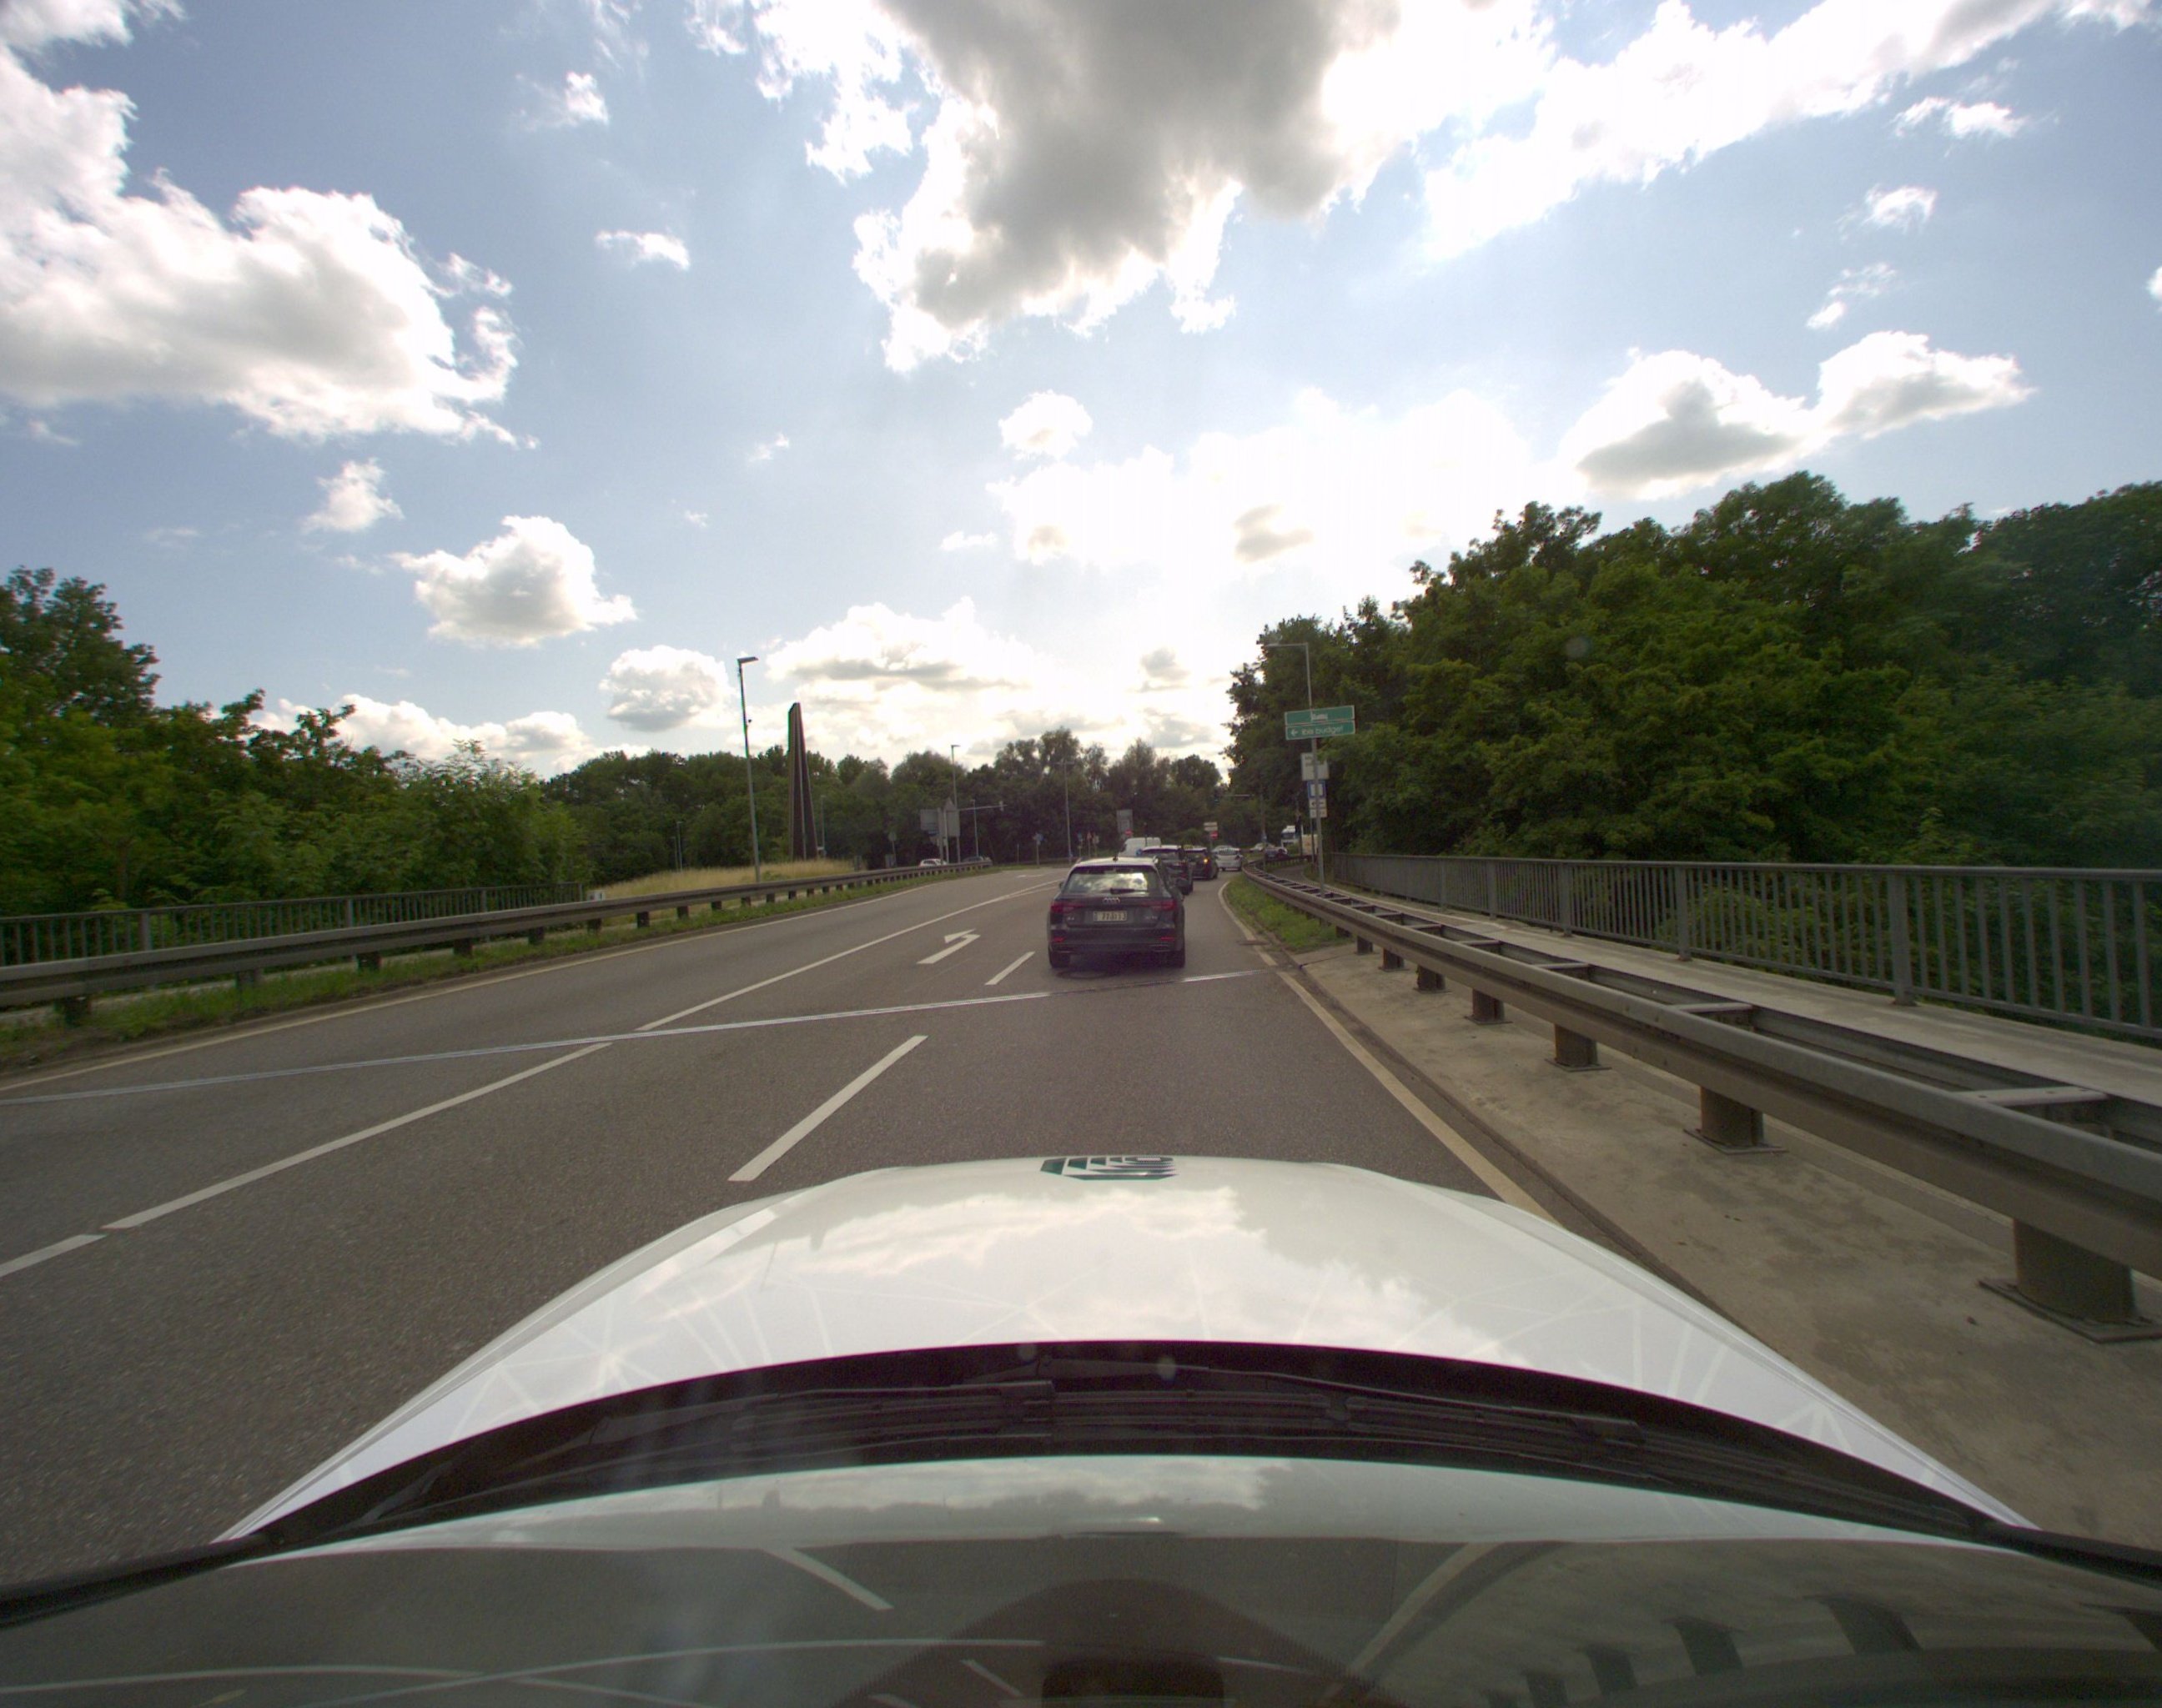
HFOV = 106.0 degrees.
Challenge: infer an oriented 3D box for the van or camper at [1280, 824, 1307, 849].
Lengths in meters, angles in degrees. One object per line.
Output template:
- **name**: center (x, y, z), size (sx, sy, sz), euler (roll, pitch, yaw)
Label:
- **van or camper**: center (31.647, -2.601, 121.150), size (2.879, 3.615, 8.175), euler (0, 2, 22)

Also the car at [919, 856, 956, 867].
- **car**: center (-13.999, 0.729, 79.596), size (3.543, 1.117, 1.604), euler (-1, 0, 39)

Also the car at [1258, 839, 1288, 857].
- **car**: center (16.073, -0.506, 67.959), size (1.668, 1.398, 3.700), euler (-2, 0, 25)

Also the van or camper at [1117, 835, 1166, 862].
- **van or camper**: center (5.601, -0.518, 76.485), size (2.285, 2.340, 5.195), euler (-1, 1, -26)

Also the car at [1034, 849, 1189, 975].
- **car**: center (0.510, 0.692, 11.838), size (1.820, 1.491, 4.211), euler (-1, 0, 4)

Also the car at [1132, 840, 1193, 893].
- **car**: center (2.836, 0.393, 27.687), size (1.810, 1.651, 3.866), euler (-1, 0, 9)

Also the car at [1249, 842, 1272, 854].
- **car**: center (24.425, -0.880, 110.811), size (1.507, 1.500, 3.331), euler (1, 3, 44)

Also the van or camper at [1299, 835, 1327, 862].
- **van or camper**: center (23.453, -0.602, 82.147), size (1.975, 2.590, 4.115), euler (0, 1, 27)

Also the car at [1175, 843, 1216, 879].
- **car**: center (5.660, 0.314, 39.885), size (1.722, 1.651, 3.868), euler (-1, 0, 12)

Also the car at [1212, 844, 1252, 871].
- **car**: center (9.815, 0.175, 52.724), size (1.718, 1.651, 3.876), euler (-1, 0, 22)

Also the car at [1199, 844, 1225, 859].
- **car**: center (16.256, -0.337, 100.761), size (1.759, 1.717, 4.025), euler (-2, 0, 30)

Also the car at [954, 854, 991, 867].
- **car**: center (-12.184, 0.719, 91.352), size (3.767, 1.371, 1.681), euler (-1, 2, 20)
